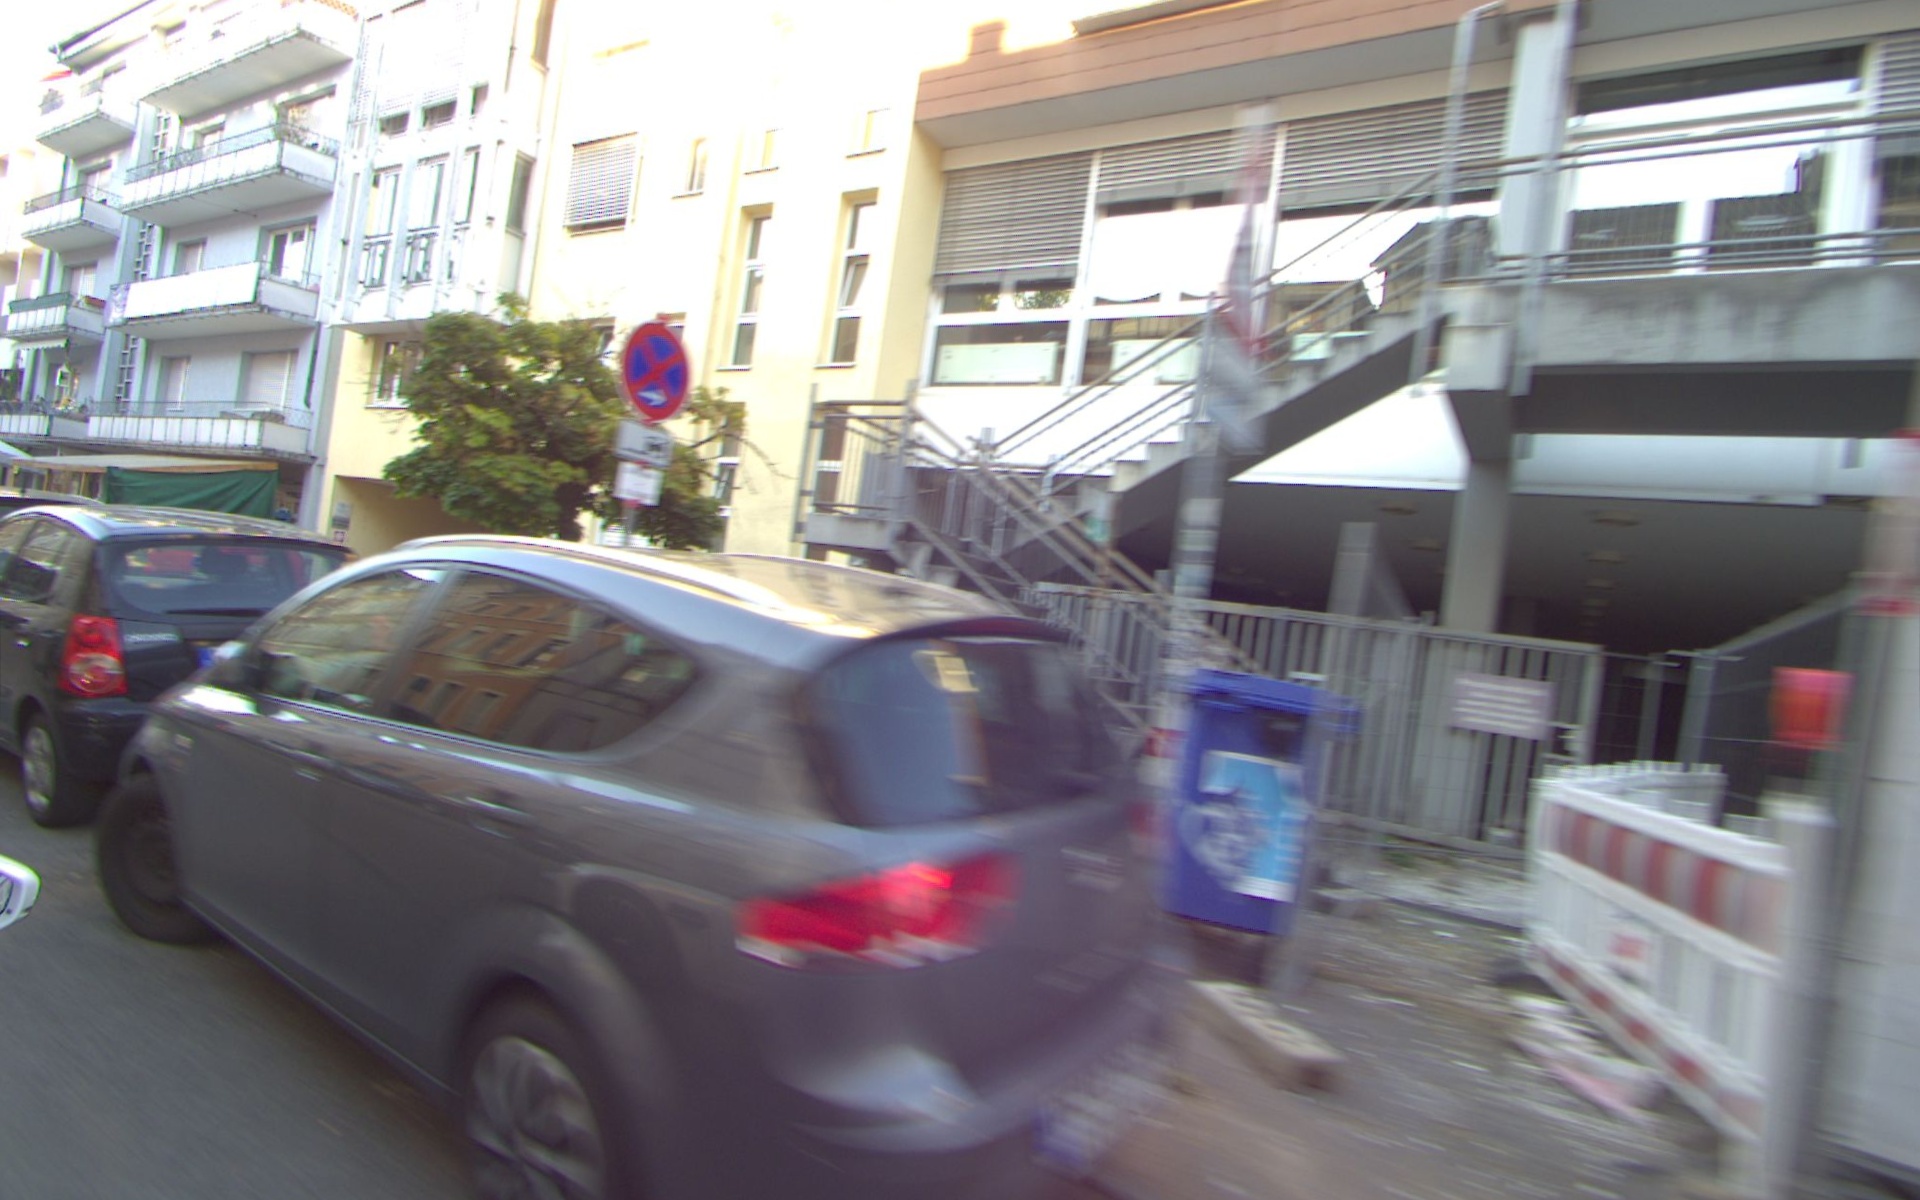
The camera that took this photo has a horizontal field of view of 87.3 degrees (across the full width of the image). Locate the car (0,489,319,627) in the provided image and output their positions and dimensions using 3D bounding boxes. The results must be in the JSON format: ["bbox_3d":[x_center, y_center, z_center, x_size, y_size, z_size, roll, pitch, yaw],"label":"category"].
[{"bbox_3d":[-13.676,-0.645,17.386,1.666,1.624,3.907,7,-3,31],"label":"car"}]

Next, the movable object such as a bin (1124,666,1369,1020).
[{"bbox_3d":[1.334,1.087,4.964,0.787,1.391,1.257,8,-3,7],"label":"movable object such as a bin"}]

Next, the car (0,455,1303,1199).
[{"bbox_3d":[-1.403,0.605,3.493,4.453,1.702,1.752,7,-3,34],"label":"car"}]

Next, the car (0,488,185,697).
[{"bbox_3d":[-8.613,-0.231,8.723,4.056,1.504,1.622,7,0,32],"label":"car"}]

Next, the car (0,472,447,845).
[{"bbox_3d":[-4.936,0.180,6.013,3.635,1.575,1.625,7,-2,34],"label":"car"}]

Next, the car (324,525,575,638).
[{"bbox_3d":[-10.376,-0.302,20.783,1.965,1.678,4.119,7,-2,28],"label":"car"}]

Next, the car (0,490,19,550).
[{"bbox_3d":[-23.732,-2.020,23.764,1.591,1.432,3.199,9,-1,-35],"label":"car"}]
